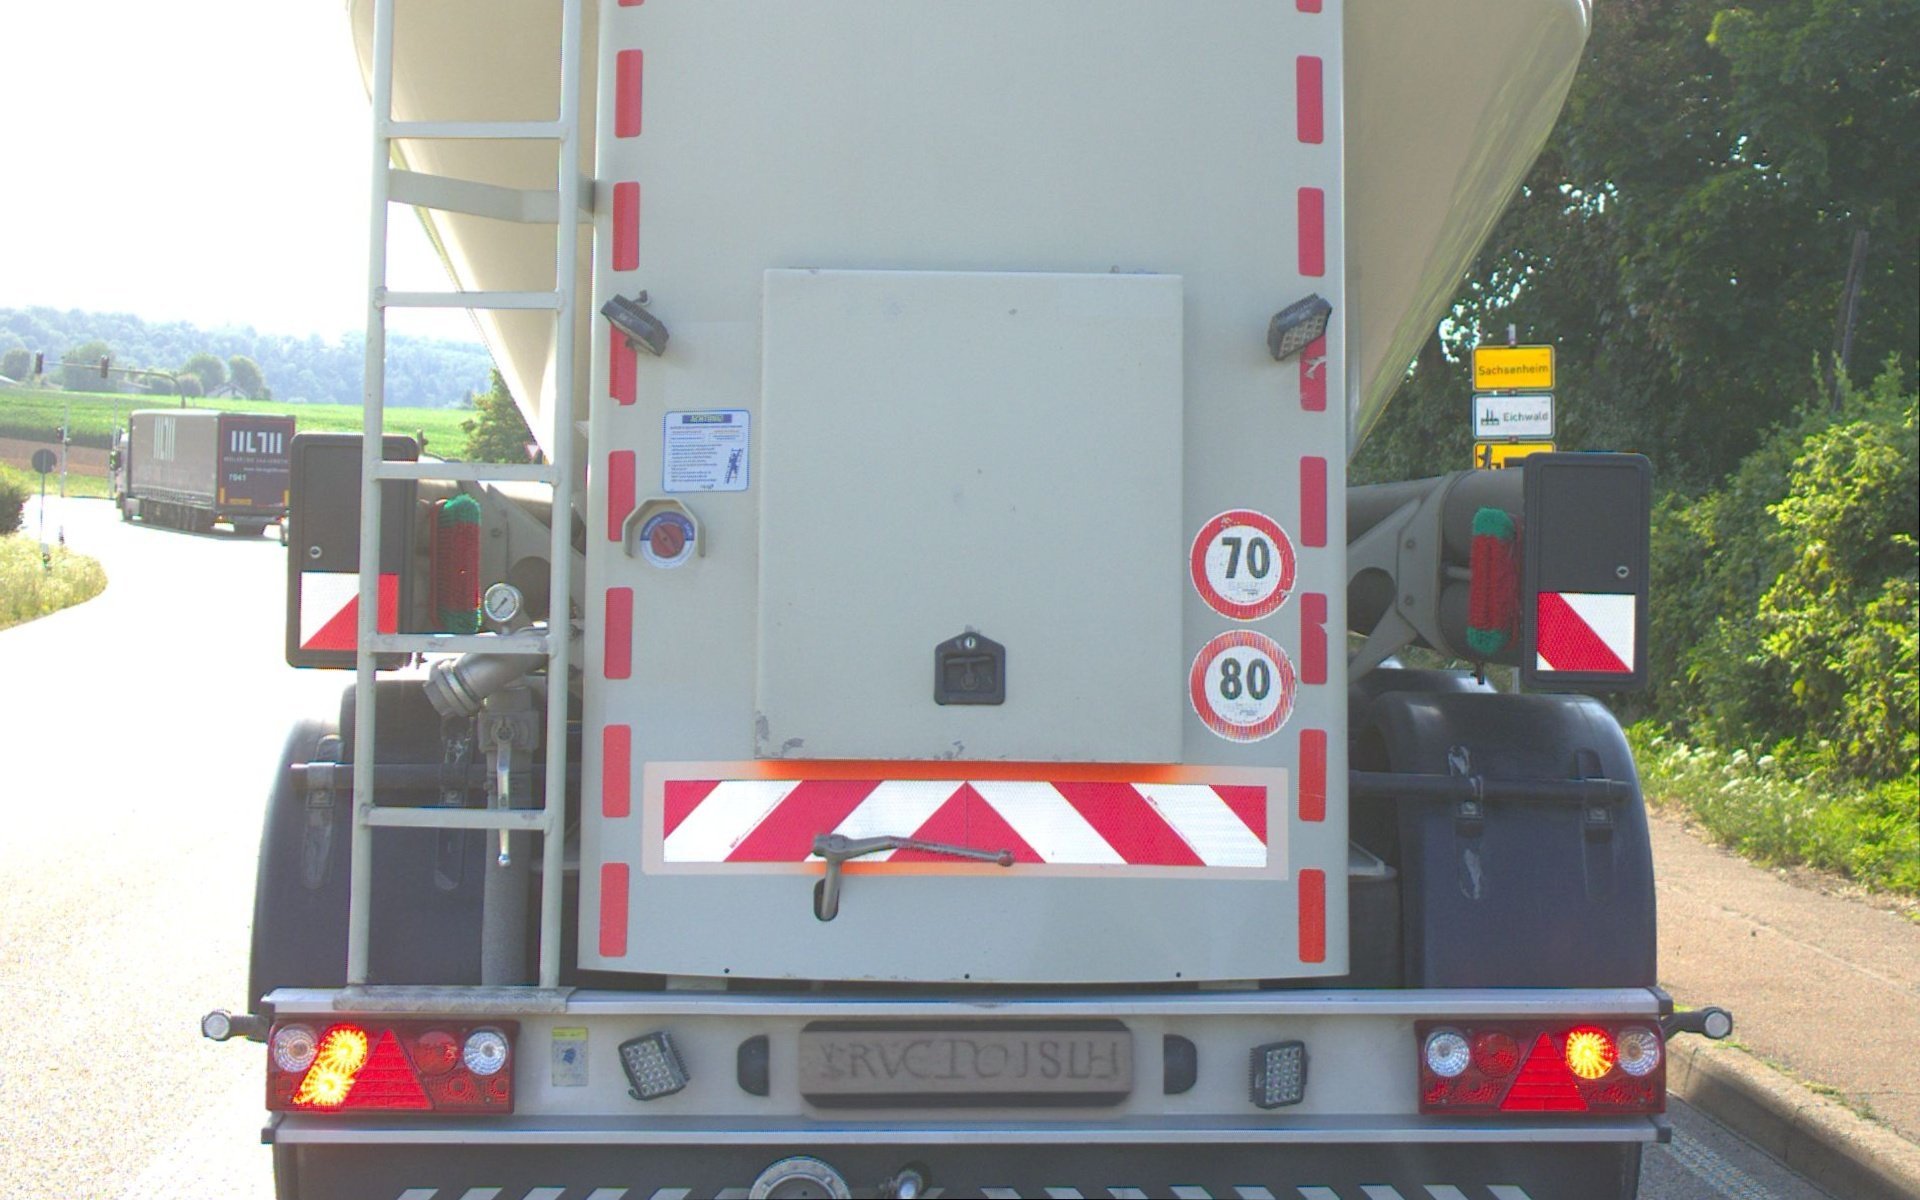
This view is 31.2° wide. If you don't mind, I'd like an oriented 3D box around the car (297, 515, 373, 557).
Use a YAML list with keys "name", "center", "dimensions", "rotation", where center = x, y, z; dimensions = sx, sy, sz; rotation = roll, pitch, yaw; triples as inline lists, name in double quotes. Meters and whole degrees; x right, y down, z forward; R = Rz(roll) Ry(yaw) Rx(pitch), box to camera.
- name: "car"
  center: [-18.574, -1.907, 102.078]
  dimensions: [1.769, 1.201, 3.427]
  rotation: [0, 2, -18]

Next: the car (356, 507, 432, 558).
- name: "car"
  center: [-15.793, -1.895, 95.843]
  dimensions: [1.580, 1.336, 3.427]
  rotation: [2, 1, -18]

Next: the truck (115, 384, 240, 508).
- name: "truck"
  center: [-28.964, -5.660, 127.159]
  dimensions: [3.375, 4.335, 5.707]
  rotation: [2, 1, -24]

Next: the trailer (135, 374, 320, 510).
- name: "trailer"
  center: [-25.635, -5.422, 119.517]
  dimensions: [3.375, 4.335, 14.298]
  rotation: [2, 1, -24]

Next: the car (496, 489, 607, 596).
- name: "car"
  center: [-8.009, -1.139, 67.162]
  dimensions: [1.861, 2.007, 3.720]
  rotation: [1, 1, -11]

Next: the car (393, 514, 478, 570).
- name: "car"
  center: [-13.395, -1.492, 87.691]
  dimensions: [1.580, 1.336, 3.427]
  rotation: [2, 1, -18]

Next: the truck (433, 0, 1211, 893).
- name: "truck"
  center: [-0.695, -0.927, 15.039]
  dimensions: [2.909, 3.992, 4.060]
  rotation: [1, 1, -5]

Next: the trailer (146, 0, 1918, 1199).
- name: "trailer"
  center: [-0.286, -0.929, 10.595]
  dimensions: [2.909, 3.992, 9.932]
  rotation: [1, 1, -5]

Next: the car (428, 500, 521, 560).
- name: "car"
  center: [-11.517, -1.677, 81.461]
  dimensions: [1.580, 1.336, 3.427]
  rotation: [2, 1, -18]

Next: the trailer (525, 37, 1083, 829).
- name: "trailer"
  center: [-0.922, -1.070, 26.213]
  dimensions: [2.955, 4.300, 14.176]
  rotation: [2, 1, 0]
